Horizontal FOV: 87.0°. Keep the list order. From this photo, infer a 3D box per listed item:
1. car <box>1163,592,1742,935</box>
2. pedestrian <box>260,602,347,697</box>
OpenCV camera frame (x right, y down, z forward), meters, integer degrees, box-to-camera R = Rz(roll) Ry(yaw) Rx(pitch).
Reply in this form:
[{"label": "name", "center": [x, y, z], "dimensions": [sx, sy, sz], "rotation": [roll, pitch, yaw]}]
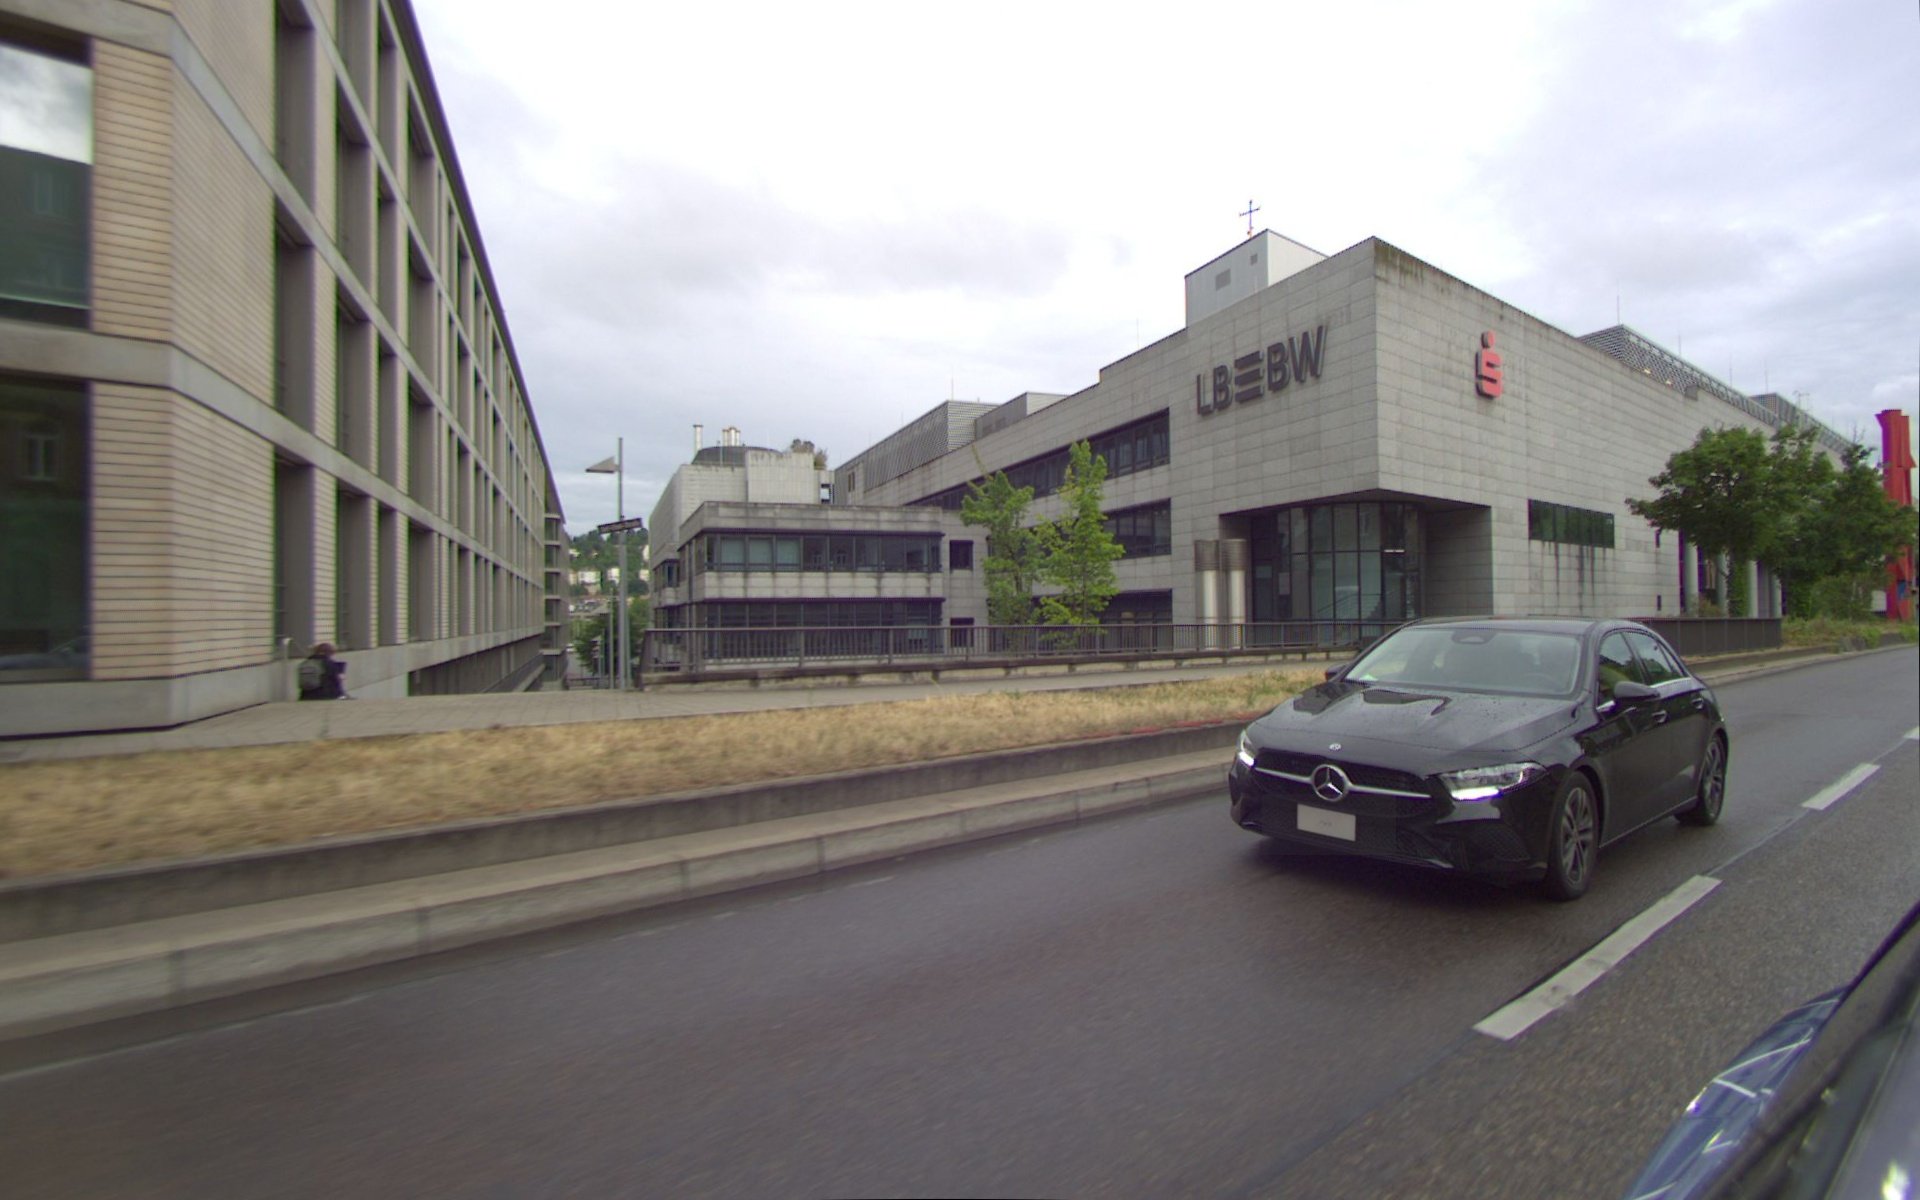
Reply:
[{"label": "car", "center": [3.306, 0.723, 6.388], "dimensions": [4.132, 1.455, 1.875], "rotation": [1, -1, -42]}, {"label": "pedestrian", "center": [-9.757, 0.711, 15.081], "dimensions": [0.949, 1.357, 0.879], "rotation": [0, 0, -23]}]
